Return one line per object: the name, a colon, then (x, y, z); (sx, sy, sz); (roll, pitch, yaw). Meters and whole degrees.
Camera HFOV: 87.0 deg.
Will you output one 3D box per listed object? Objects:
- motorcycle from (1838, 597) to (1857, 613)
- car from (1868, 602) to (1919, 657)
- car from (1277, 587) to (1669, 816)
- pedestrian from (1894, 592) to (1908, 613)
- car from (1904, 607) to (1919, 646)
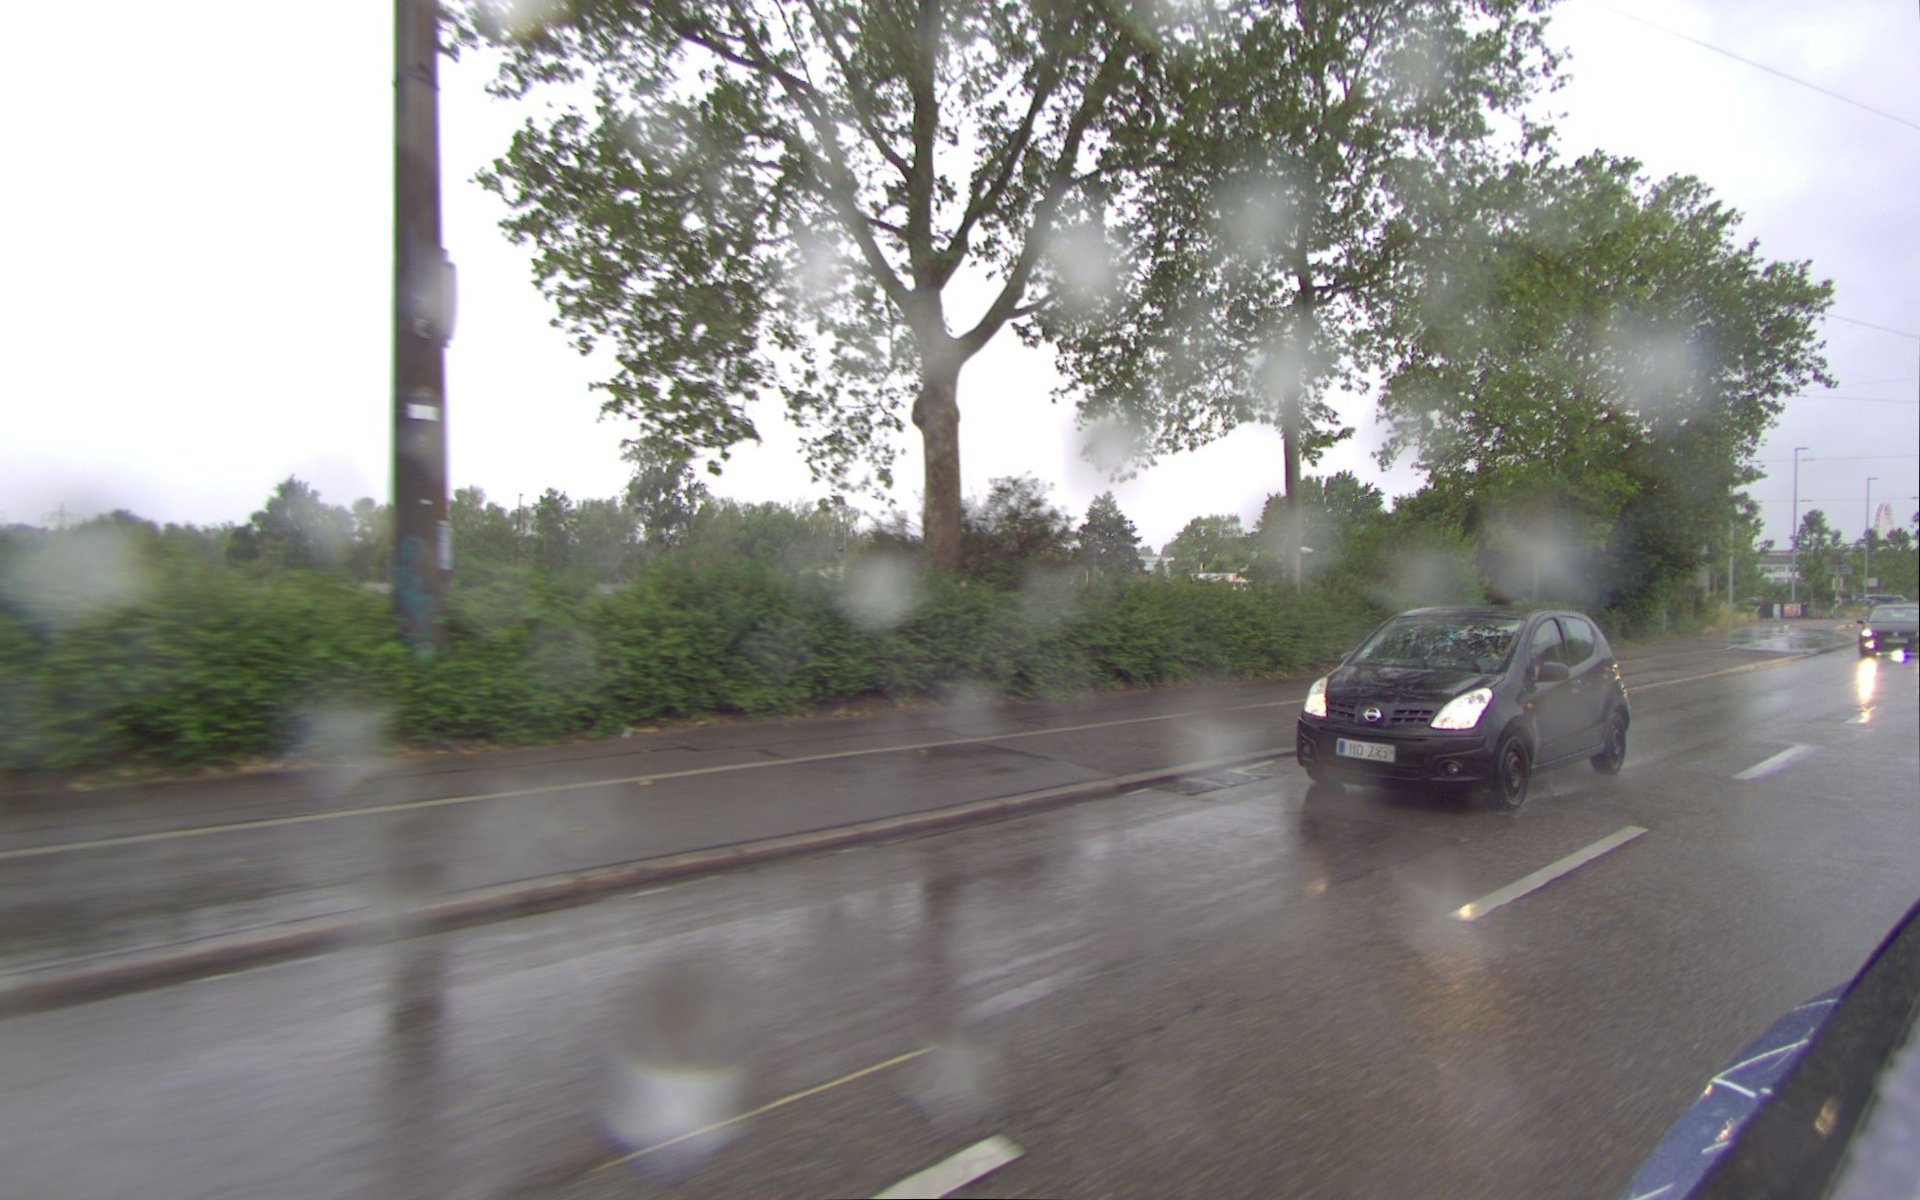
motorcycle: (68.392, 0.383, 77.987); (1.418, 1.233, 0.635); (1, 1, -28)
car: (27.700, 0.826, 29.184); (3.971, 1.504, 1.714); (1, -1, -40)
car: (4.507, 0.686, 8.606); (4.024, 1.480, 1.773); (1, -1, -44)
pedestrian: (76.001, 0.218, 81.707); (0.607, 1.631, 0.734); (-1, 2, -40)
car: (39.461, 1.068, 40.699); (3.971, 1.544, 1.714); (1, -1, -40)
